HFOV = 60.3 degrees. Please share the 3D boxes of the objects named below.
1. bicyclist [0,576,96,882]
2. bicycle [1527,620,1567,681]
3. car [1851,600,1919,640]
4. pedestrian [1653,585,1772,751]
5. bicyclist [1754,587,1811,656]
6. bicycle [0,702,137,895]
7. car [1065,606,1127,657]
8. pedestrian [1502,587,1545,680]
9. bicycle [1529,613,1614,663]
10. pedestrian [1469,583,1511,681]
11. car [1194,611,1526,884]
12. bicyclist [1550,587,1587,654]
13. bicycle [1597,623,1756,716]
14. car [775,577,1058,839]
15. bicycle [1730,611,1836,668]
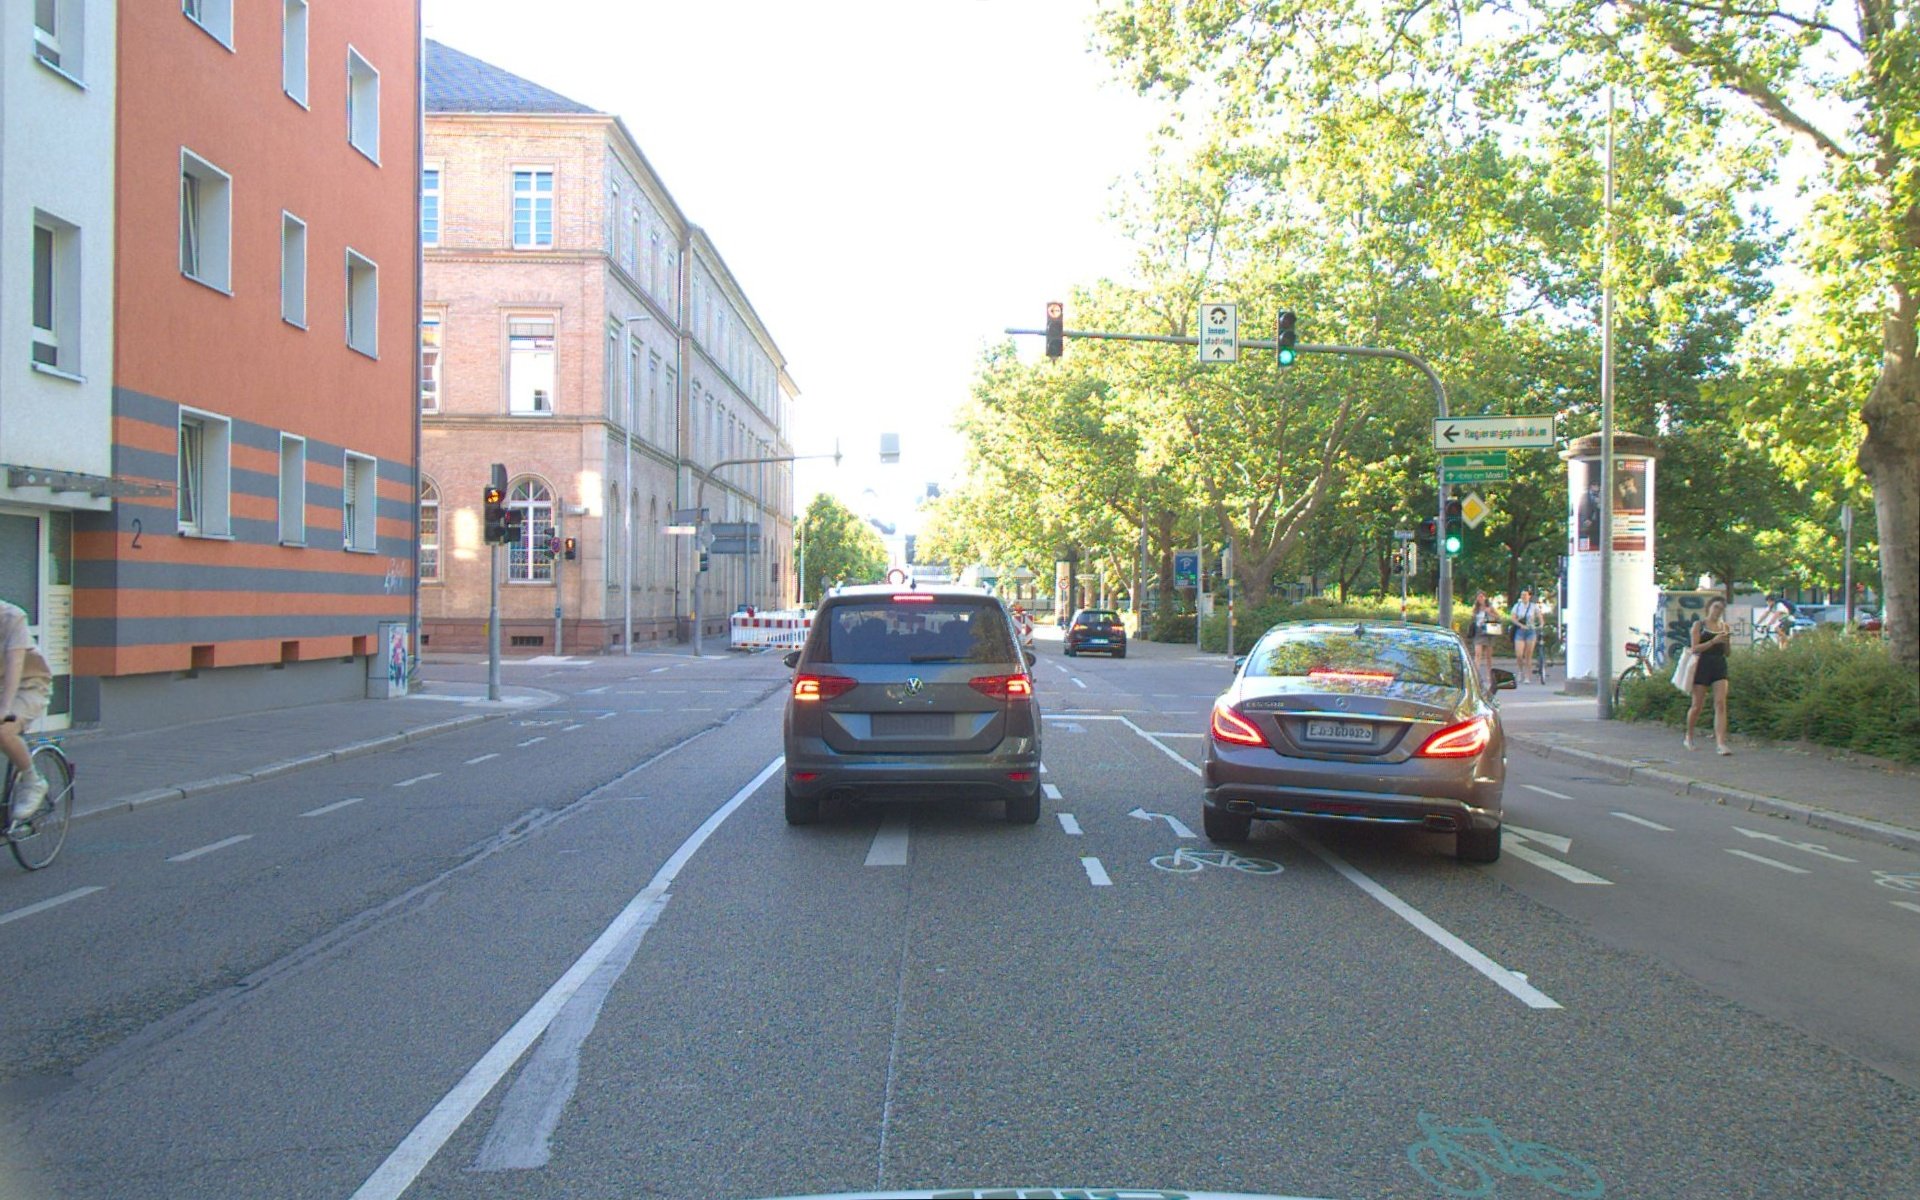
[{"bbox_3d":[-5.219,0.667,8.961,0.635,1.586,0.806,1,-1,-2],"label":"bicyclist"},{"bbox_3d":[11.067,0.938,31.217,0.513,1.119,1.742,1,0,14],"label":"bicycle"},{"bbox_3d":[36.249,0.766,63.849,1.596,1.508,3.794,1,0,-2],"label":"car"},{"bbox_3d":[7.790,0.694,17.168,0.782,1.659,0.907,-1,-1,0],"label":"pedestrian"},{"bbox_3d":[20.005,0.529,40.233,0.944,1.644,0.870,1,-1,1],"label":"bicyclist"},{"bbox_3d":[-5.237,1.070,9.060,0.537,0.906,1.867,1,0,-1],"label":"bicycle"},{"bbox_3d":[4.159,0.955,50.925,1.654,1.465,3.902,1,0,2],"label":"car"},{"bbox_3d":[10.677,0.622,31.387,0.668,1.727,0.971,1,-1,14],"label":"pedestrian"},{"bbox_3d":[15.973,0.988,43.203,1.989,1.242,0.599,1,-1,-1],"label":"bicycle"},{"bbox_3d":[10.148,0.609,31.675,0.716,1.840,0.909,-1,-2,16],"label":"pedestrian"},{"bbox_3d":[2.895,0.827,11.435,1.804,1.454,4.519,1,0,18],"label":"car"},{"bbox_3d":[15.886,0.542,43.219,0.695,1.727,0.675,1,-1,-1],"label":"bicyclist"},{"bbox_3d":[9.709,0.939,22.442,1.936,1.210,0.528,1,-1,-2],"label":"bicycle"},{"bbox_3d":[-0.247,0.690,12.395,1.772,1.641,4.000,0,0,1],"label":"car"},{"bbox_3d":[19.987,0.952,40.205,2.242,1.349,0.660,1,-1,0],"label":"bicycle"}]
